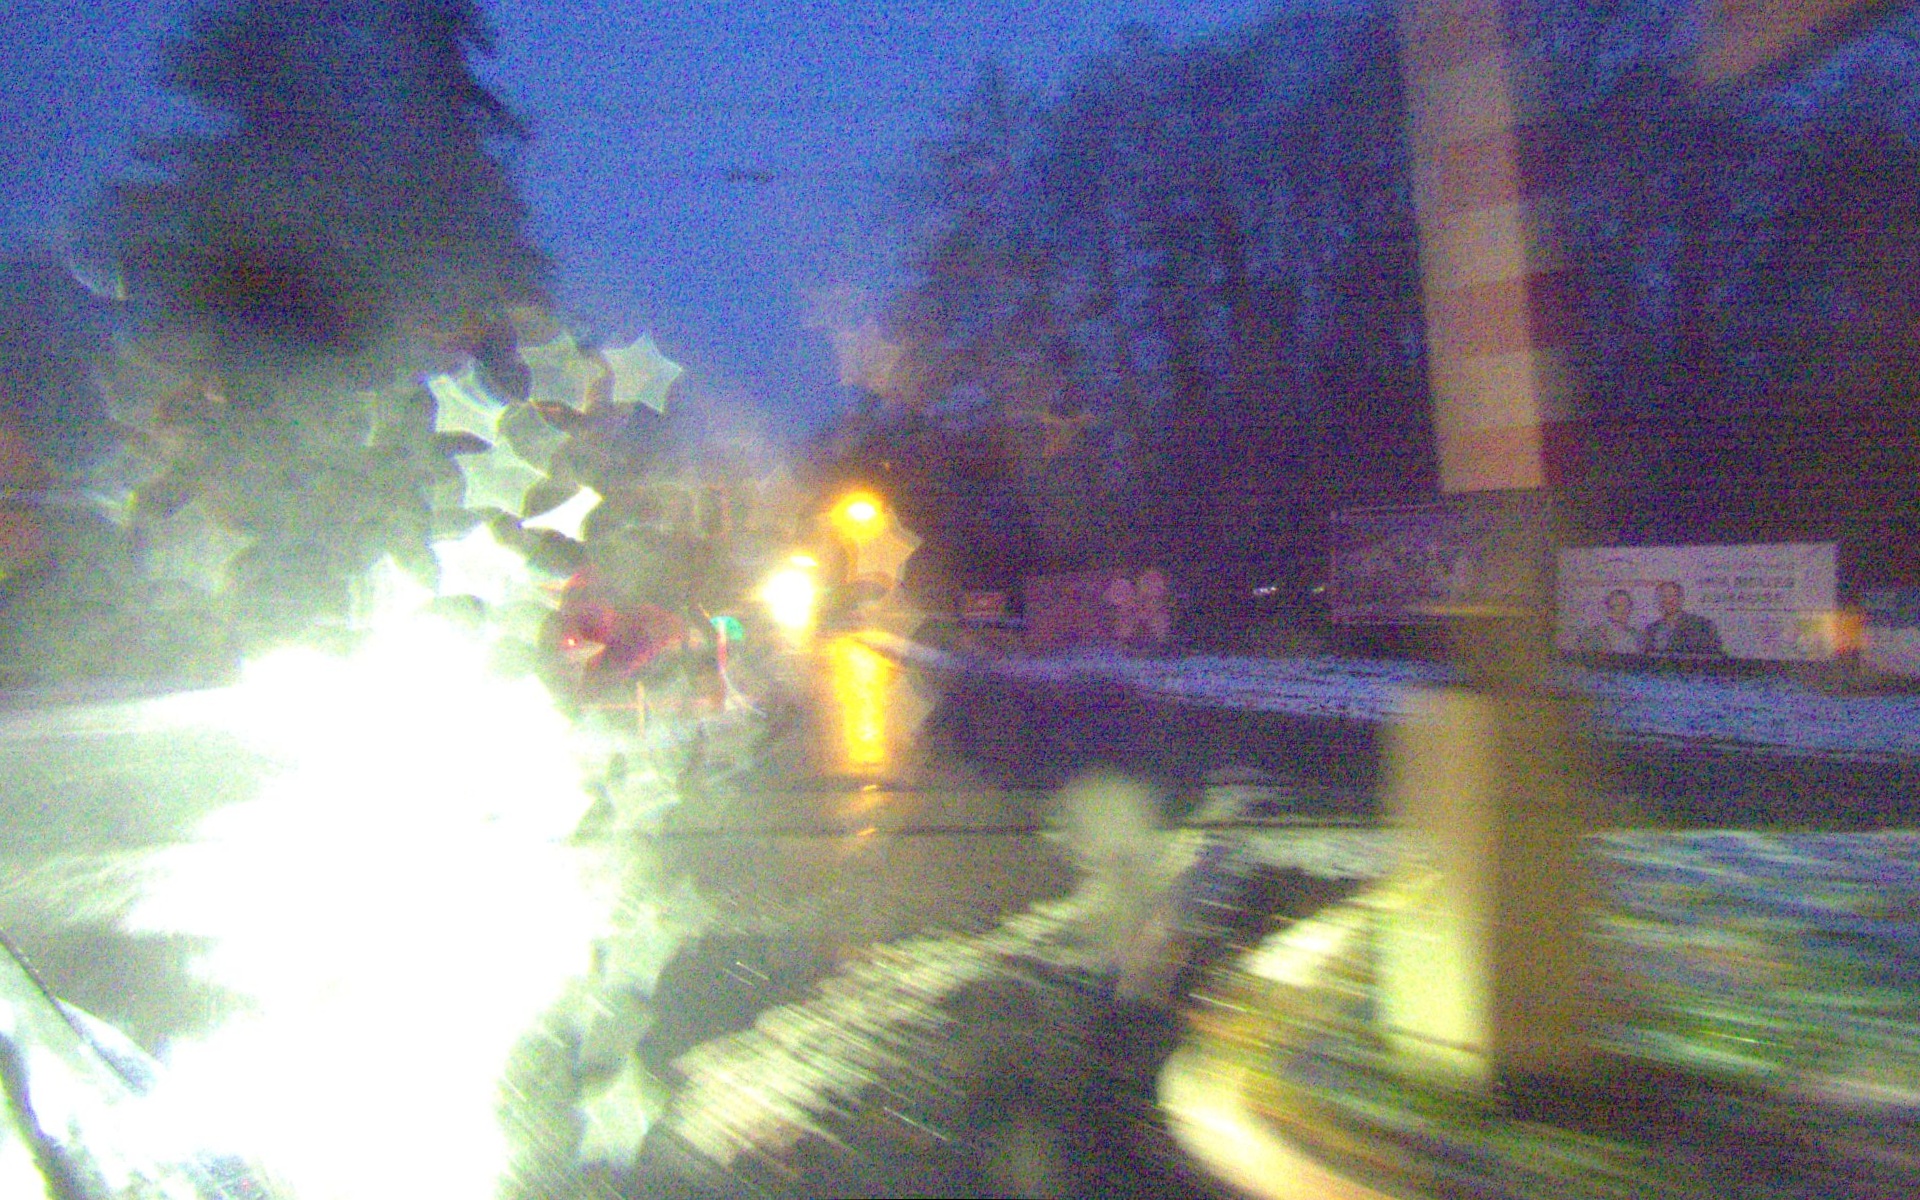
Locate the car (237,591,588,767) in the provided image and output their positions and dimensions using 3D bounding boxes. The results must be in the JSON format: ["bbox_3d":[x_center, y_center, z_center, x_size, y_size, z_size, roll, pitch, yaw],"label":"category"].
[{"bbox_3d":[-6.277,0.780,12.297,1.868,1.700,4.338,-2,0,0],"label":"car"}]

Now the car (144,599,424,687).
[{"bbox_3d":[-13.627,0.850,20.586,4.422,1.598,1.938,1,-1,2],"label":"car"}]
